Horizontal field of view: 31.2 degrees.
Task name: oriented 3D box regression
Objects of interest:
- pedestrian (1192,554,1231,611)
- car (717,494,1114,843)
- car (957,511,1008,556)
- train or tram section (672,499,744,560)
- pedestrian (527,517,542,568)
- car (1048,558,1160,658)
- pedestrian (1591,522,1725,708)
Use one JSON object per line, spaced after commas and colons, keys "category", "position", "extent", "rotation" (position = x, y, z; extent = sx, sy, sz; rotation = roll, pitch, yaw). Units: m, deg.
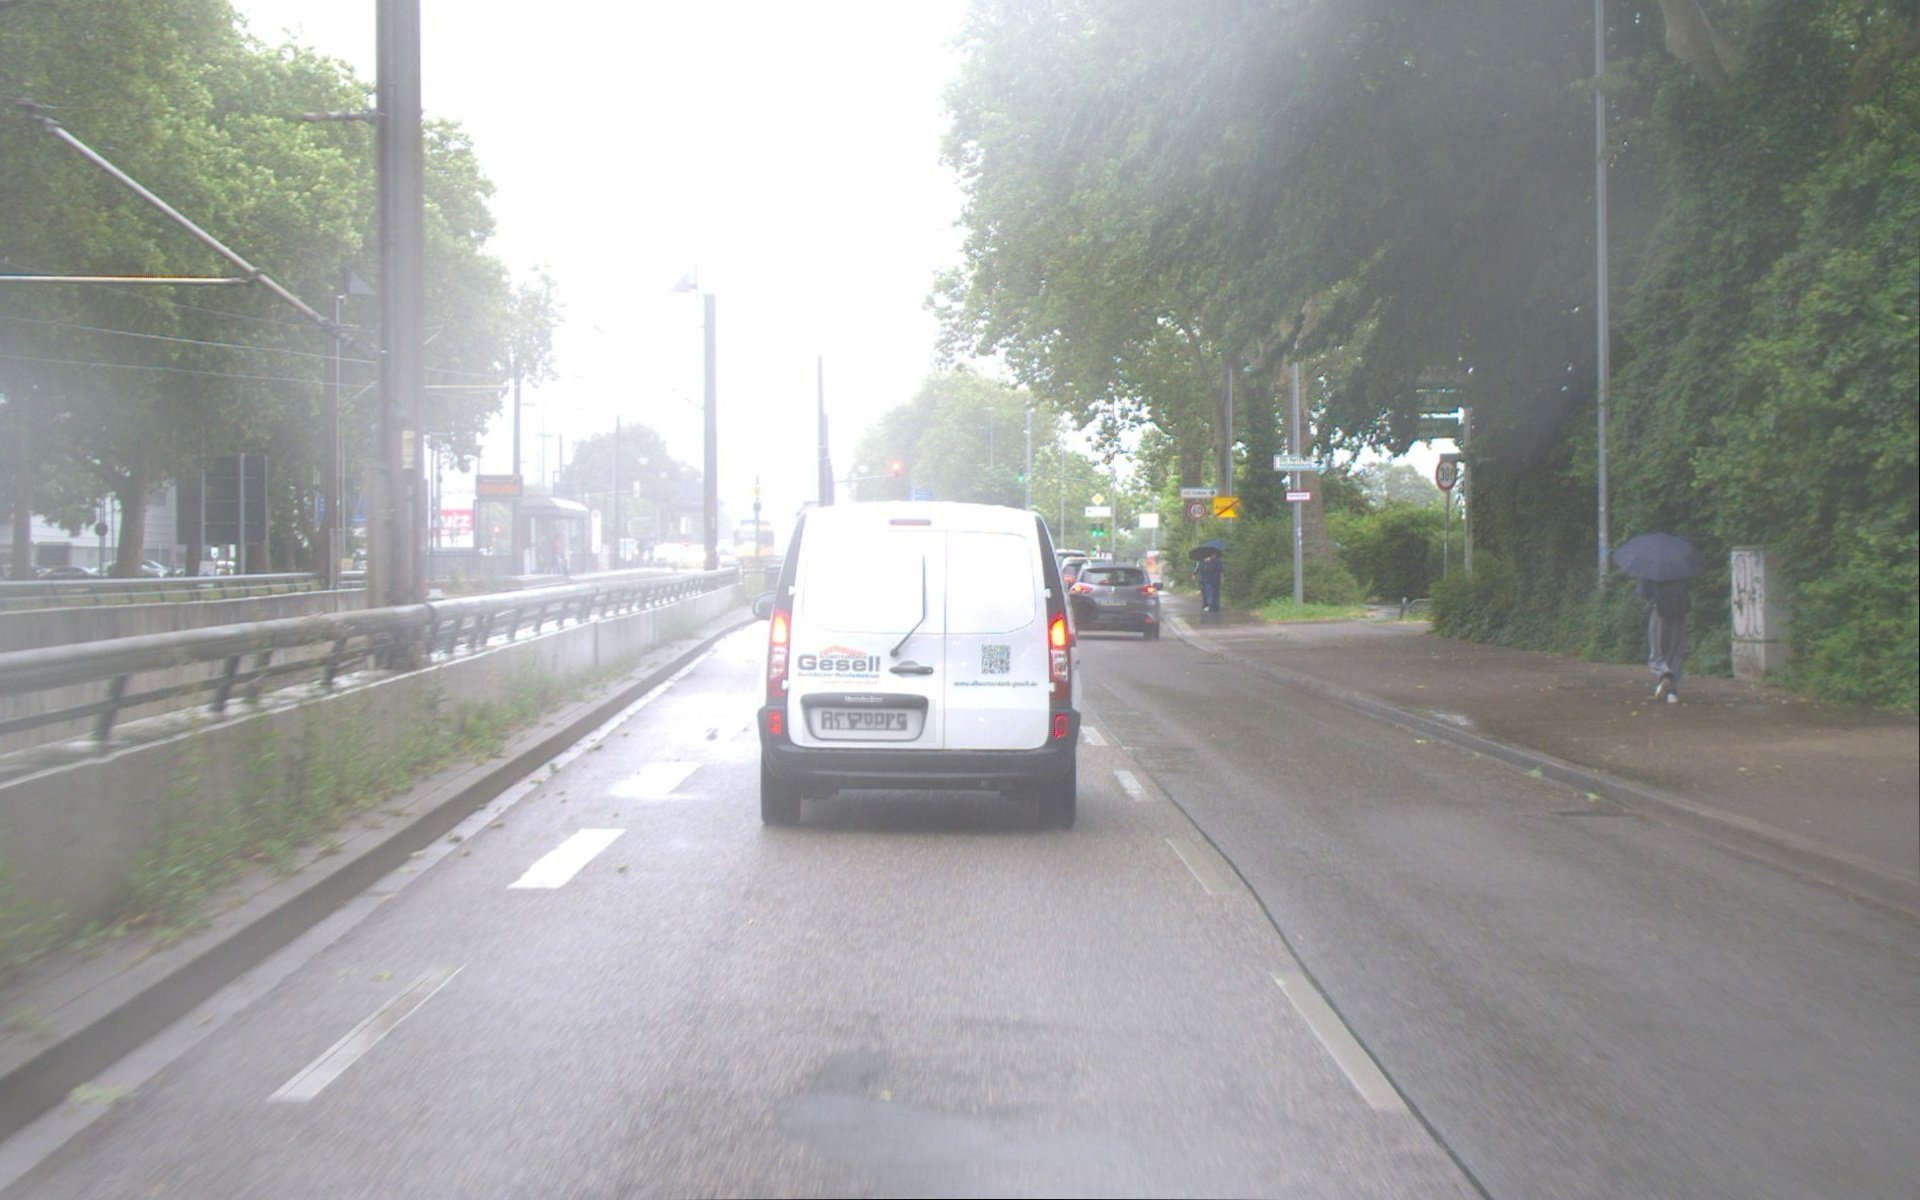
{"category": "pedestrian", "position": [6.277, -0.449, 85.892], "extent": [0.892, 1.385, 1.016], "rotation": [-2, 1, 1]}
{"category": "car", "position": [-0.307, 0.327, 20.086], "extent": [2.024, 1.769, 4.275], "rotation": [2, 1, -2]}
{"category": "car", "position": [0.912, -2.711, 140.454], "extent": [1.993, 1.744, 4.000], "rotation": [2, 1, 0]}
{"category": "train or tram section", "position": [-17.765, -4.969, 244.465], "extent": [3.770, 4.022, 27.095], "rotation": [2, 1, -2]}
{"category": "pedestrian", "position": [-16.819, -2.290, 135.922], "extent": [0.493, 2.007, 0.583], "rotation": [1, 1, -12]}
{"category": "car", "position": [2.706, 0.119, 64.483], "extent": [1.994, 1.744, 4.000], "rotation": [2, 1, 3]}
{"category": "pedestrian", "position": [6.580, 0.131, 32.480], "extent": [0.967, 1.696, 1.141], "rotation": [2, 1, -1]}
